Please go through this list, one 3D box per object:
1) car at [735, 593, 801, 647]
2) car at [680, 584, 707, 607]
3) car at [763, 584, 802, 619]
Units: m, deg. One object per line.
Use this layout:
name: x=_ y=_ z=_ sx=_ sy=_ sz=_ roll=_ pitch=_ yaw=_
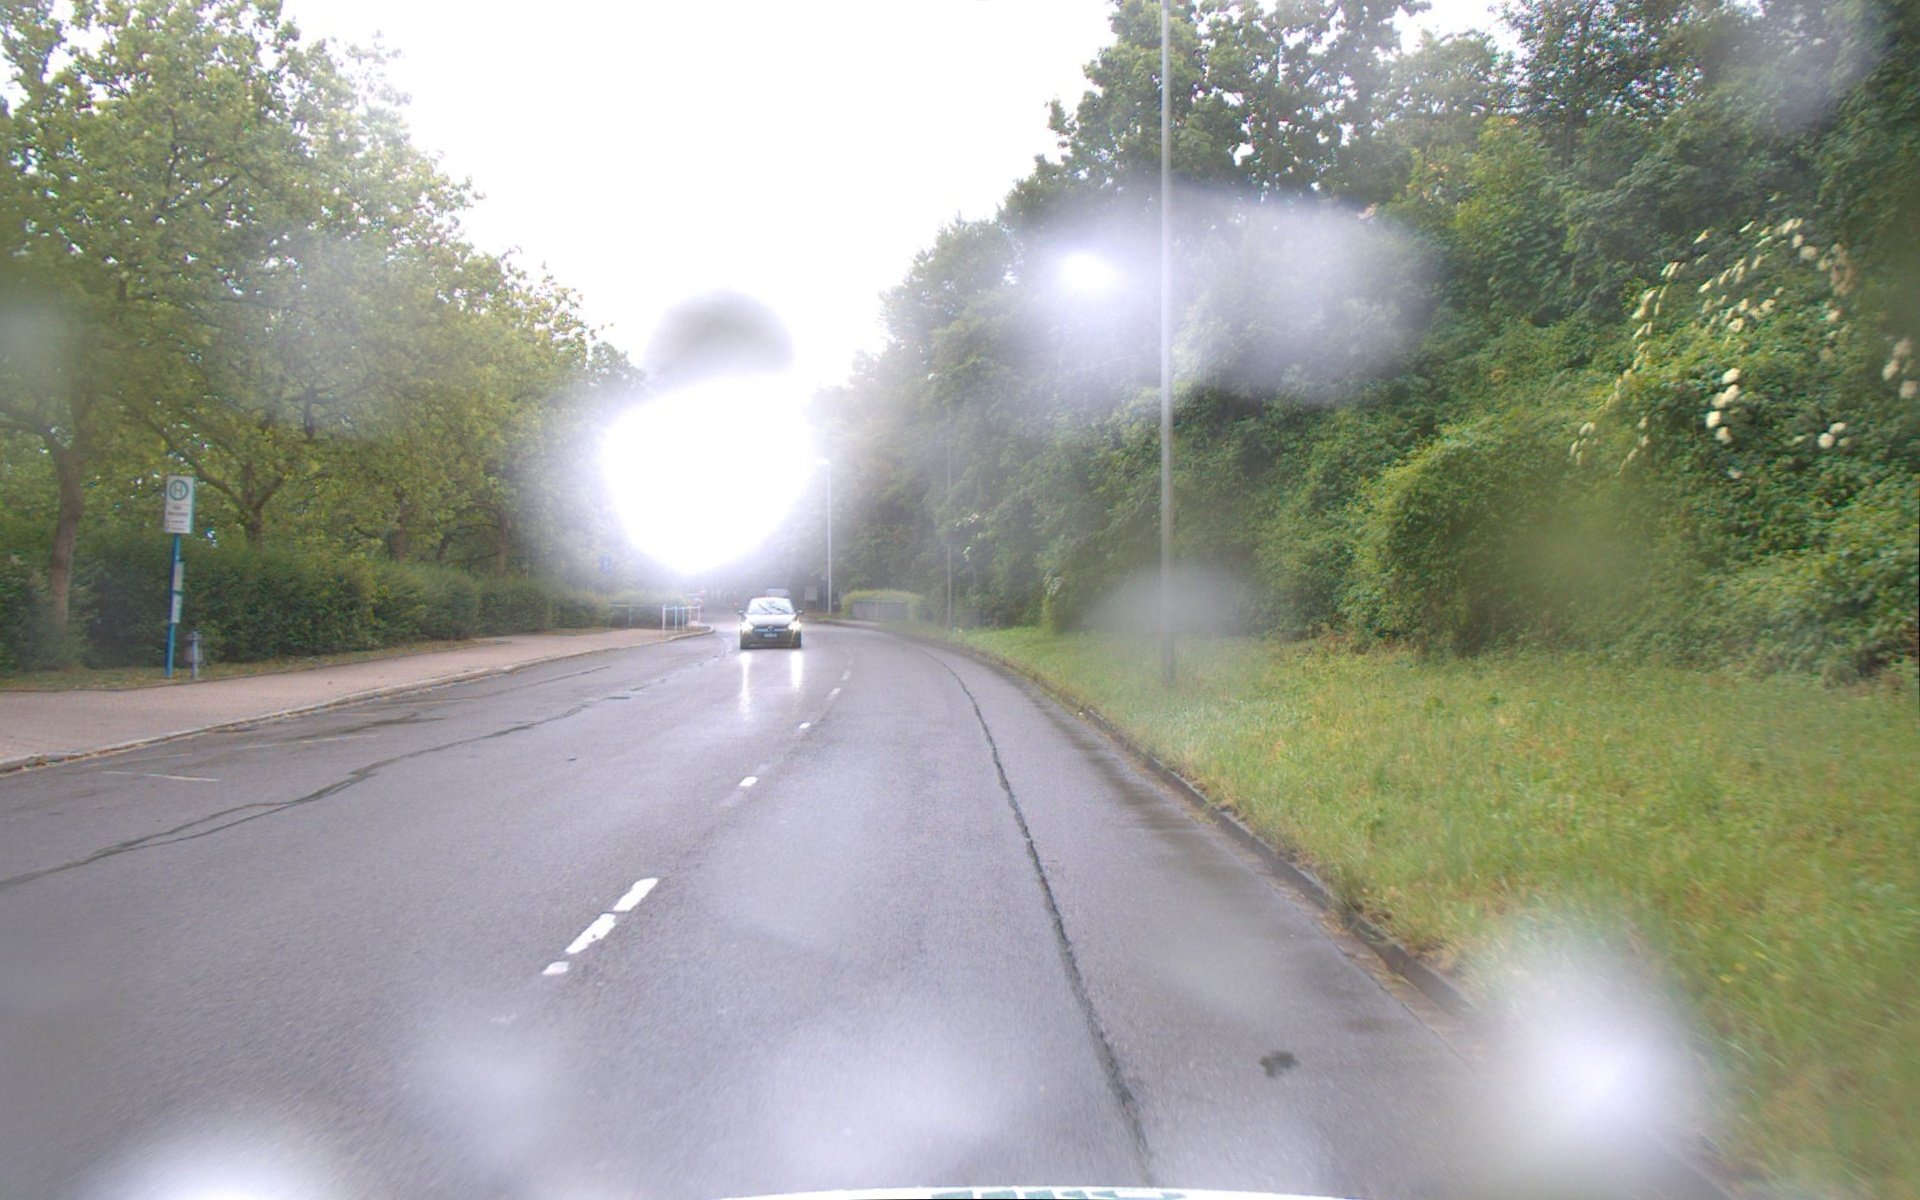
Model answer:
car: x=-5.590 y=0.572 z=48.594 sx=1.791 sy=1.490 sz=3.995 roll=-1 pitch=0 yaw=-5
car: x=-22.199 y=-0.357 z=137.629 sx=1.959 sy=1.847 sz=3.987 roll=1 pitch=0 yaw=-13
car: x=-10.303 y=0.086 z=95.684 sx=1.950 sy=1.959 sz=3.990 roll=0 pitch=0 yaw=-11
